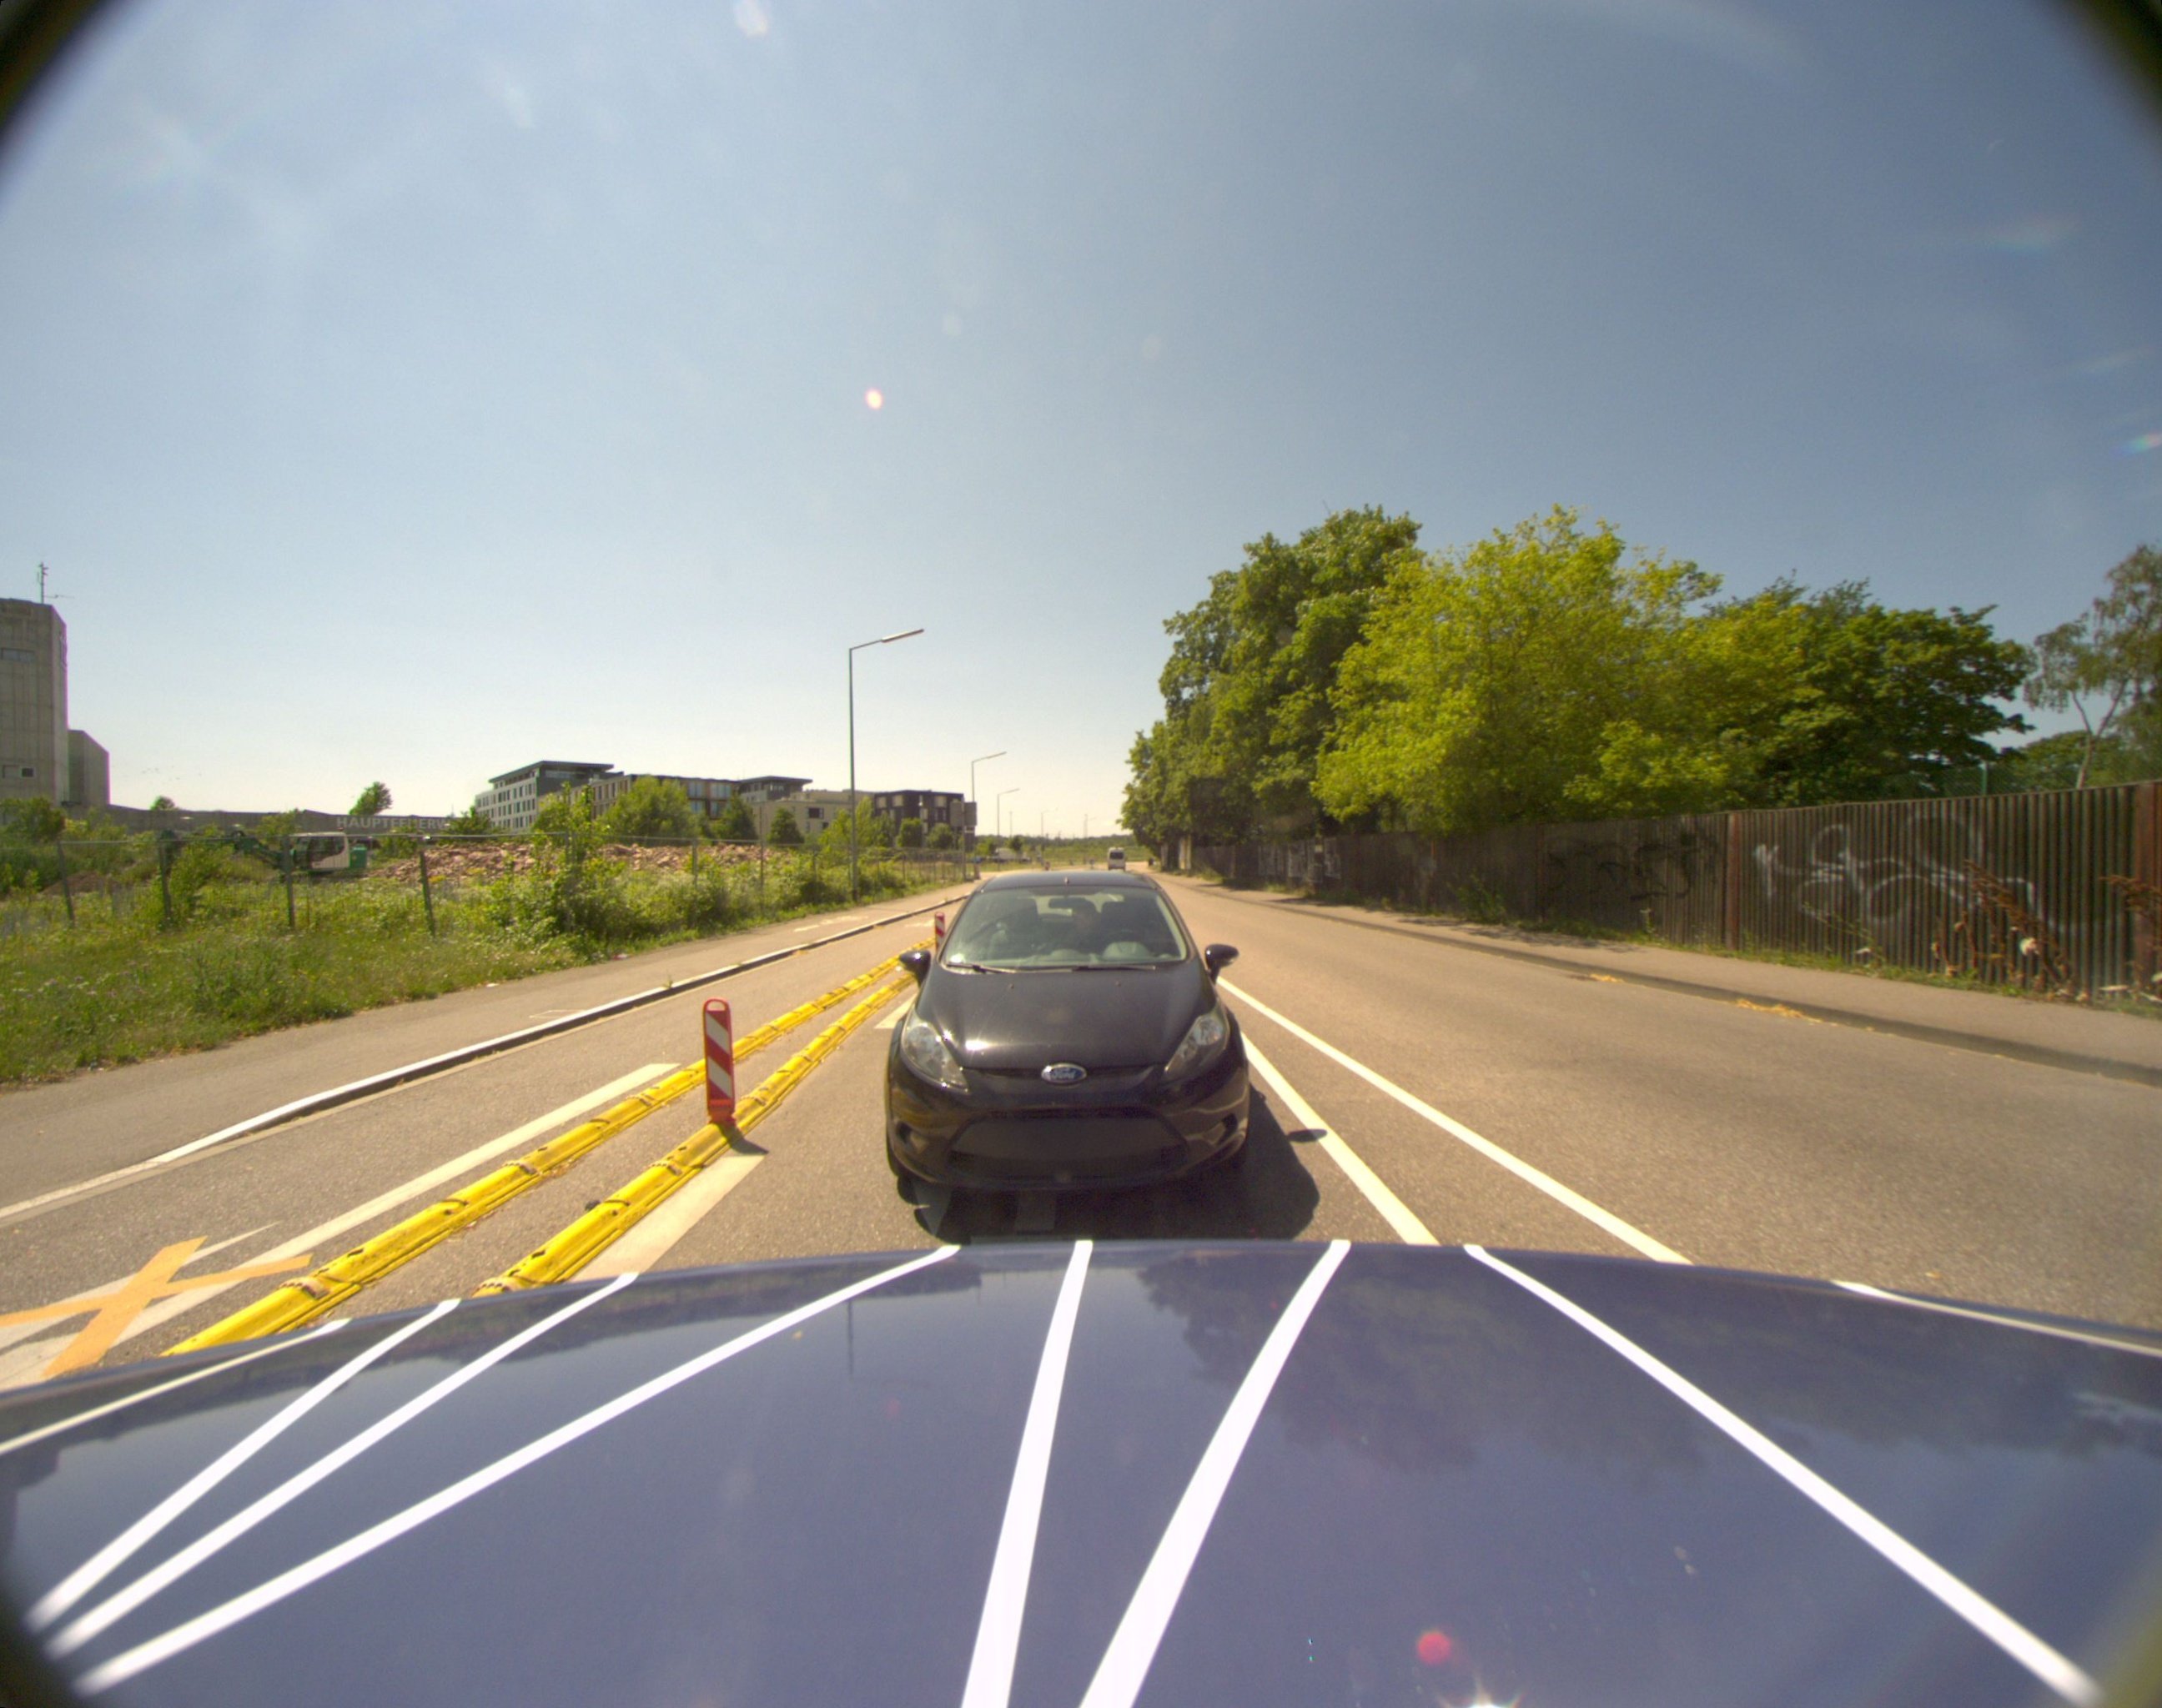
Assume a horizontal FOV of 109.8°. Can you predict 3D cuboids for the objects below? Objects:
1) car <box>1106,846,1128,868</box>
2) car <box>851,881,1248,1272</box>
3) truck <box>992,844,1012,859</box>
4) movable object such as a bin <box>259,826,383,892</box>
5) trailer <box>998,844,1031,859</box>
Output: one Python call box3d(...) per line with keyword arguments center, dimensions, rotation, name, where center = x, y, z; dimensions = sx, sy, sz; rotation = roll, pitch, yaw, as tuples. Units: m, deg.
box3d(center=(4.085, 0.321, 87.437), dimensions=(2.025, 2.524, 6.825), rotation=(0, 0, -2), name="car")
box3d(center=(-0.109, 0.994, 5.139), dimensions=(1.602, 1.422, 4.000), rotation=(-2, 0, 1), name="car")
box3d(center=(-17.895, -0.645, 171.711), dimensions=(4.008, 3.316, 1.994), rotation=(-1, 1, -45), name="truck")
box3d(center=(-37.639, 0.236, 37.790), dimensions=(2.204, 3.045, 3.690), rotation=(-2, 1, 6), name="movable object such as a bin")
box3d(center=(-15.138, -0.648, 174.451), dimensions=(8.194, 3.329, 1.994), rotation=(-1, 0, -45), name="trailer")
